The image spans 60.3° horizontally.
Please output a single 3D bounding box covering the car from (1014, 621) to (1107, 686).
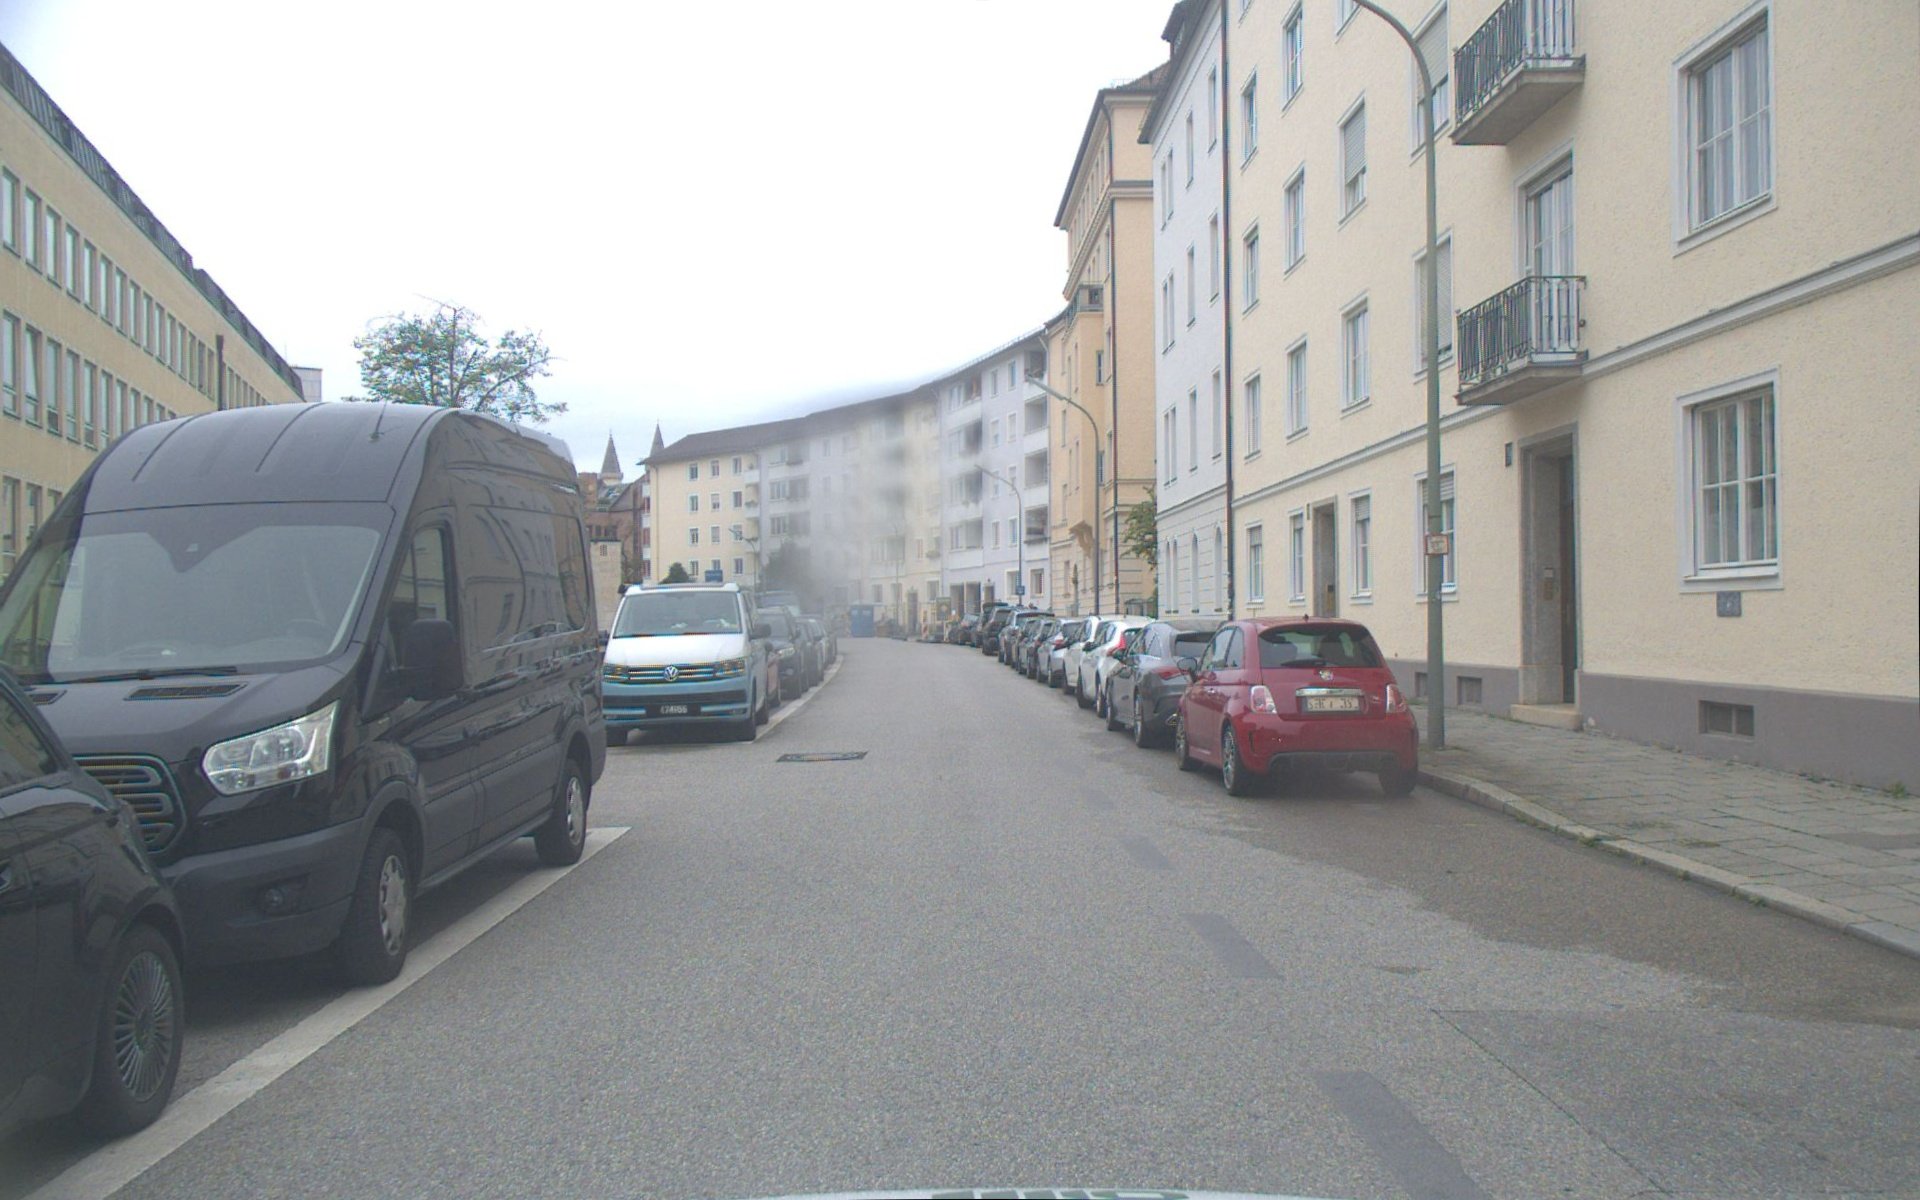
[{"bbox_3d":[2.430,1.283,40.905,1.838,1.475,4.675,1,-1,-2],"label":"car"}]

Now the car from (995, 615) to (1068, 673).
[{"bbox_3d":[2.158,1.322,50.917,1.809,1.693,4.495,1,-1,-3],"label":"car"}]

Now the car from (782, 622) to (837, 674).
[{"bbox_3d":[-4.831,1.519,53.343,1.599,1.520,4.272,-2,0,-4],"label":"car"}]

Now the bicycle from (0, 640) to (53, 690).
[{"bbox_3d":[-18.691,1.277,32.537,1.383,0.961,0.413,2,-1,-15],"label":"bicycle"}]

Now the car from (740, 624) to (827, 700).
[{"bbox_3d":[-3.899,1.346,37.045,1.598,1.520,3.818,-2,0,-2],"label":"car"}]

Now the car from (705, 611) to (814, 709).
[{"bbox_3d":[-3.813,1.098,32.013,1.680,1.719,4.139,-2,0,-2],"label":"car"}]

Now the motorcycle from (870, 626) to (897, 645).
[{"bbox_3d":[-5.064,2.328,109.782,0.920,1.242,2.486,1,-1,-25],"label":"motorcycle"}]

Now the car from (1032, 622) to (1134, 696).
[{"bbox_3d":[2.621,1.251,36.124,1.690,1.475,4.185,1,-1,-3],"label":"car"}]

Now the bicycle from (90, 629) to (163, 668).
[{"bbox_3d":[-21.281,1.248,42.238,1.580,0.961,0.500,2,-1,-21],"label":"bicycle"}]

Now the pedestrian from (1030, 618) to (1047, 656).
[{"bbox_3d":[3.611,1.704,75.964,0.605,1.720,0.919,-3,-1,-2],"label":"pedestrian"}]

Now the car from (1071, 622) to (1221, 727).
[{"bbox_3d":[2.818,1.100,25.878,1.690,1.455,4.291,1,-1,-2],"label":"car"}]

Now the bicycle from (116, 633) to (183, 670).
[{"bbox_3d":[-21.827,1.385,44.546,1.584,0.961,0.499,2,-1,-26],"label":"bicycle"}]

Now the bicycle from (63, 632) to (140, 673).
[{"bbox_3d":[-20.770,1.277,40.033,1.580,0.961,0.500,2,-1,-21],"label":"bicycle"}]

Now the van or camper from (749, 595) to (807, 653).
[{"bbox_3d":[-8.645,1.109,78.311,2.256,2.626,6.069,0,-1,-11],"label":"van or camper"}]

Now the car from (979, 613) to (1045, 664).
[{"bbox_3d":[1.874,1.398,61.147,2.126,1.769,5.022,1,-1,-2],"label":"car"}]

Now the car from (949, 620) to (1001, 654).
[{"bbox_3d":[0.668,1.707,77.610,1.871,1.503,4.940,1,-1,-6],"label":"car"}]

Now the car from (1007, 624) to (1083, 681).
[{"bbox_3d":[2.317,1.423,46.057,1.790,1.475,4.082,1,-1,-2],"label":"car"}]

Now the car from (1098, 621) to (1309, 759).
[{"bbox_3d":[2.847,1.009,20.306,1.737,1.455,4.613,1,-1,-2],"label":"car"}]

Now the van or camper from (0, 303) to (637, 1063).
[{"bbox_3d":[-3.427,0.347,8.745,2.246,2.697,5.560,-2,-1,0],"label":"van or camper"}]

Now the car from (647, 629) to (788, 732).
[{"bbox_3d":[-3.830,1.242,26.664,1.768,1.431,3.707,-2,0,-2],"label":"car"}]

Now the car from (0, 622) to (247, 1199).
[{"bbox_3d":[-3.051,0.838,3.480,1.620,1.523,3.905,-2,-1,-4],"label":"car"}]

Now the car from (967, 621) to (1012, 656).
[{"bbox_3d":[1.246,1.647,71.361,1.599,1.442,3.675,1,-1,-5],"label":"car"}]

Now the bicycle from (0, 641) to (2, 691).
[{"bbox_3d":[-18.816,1.229,31.043,1.379,0.961,0.414,1,-1,-5],"label":"bicycle"}]

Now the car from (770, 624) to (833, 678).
[{"bbox_3d":[-4.585,1.448,48.195,1.706,1.447,4.290,1,-1,-4],"label":"car"}]

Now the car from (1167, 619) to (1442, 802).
[{"bbox_3d":[3.039,0.920,15.334,1.621,1.455,3.754,1,-1,-2],"label":"car"}]

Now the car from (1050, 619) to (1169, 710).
[{"bbox_3d":[2.751,1.167,31.137,1.618,1.571,3.990,1,-1,-4],"label":"car"}]

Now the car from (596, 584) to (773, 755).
[{"bbox_3d":[-3.496,0.831,21.801,1.877,1.994,4.956,0,-1,-5],"label":"car"}]
